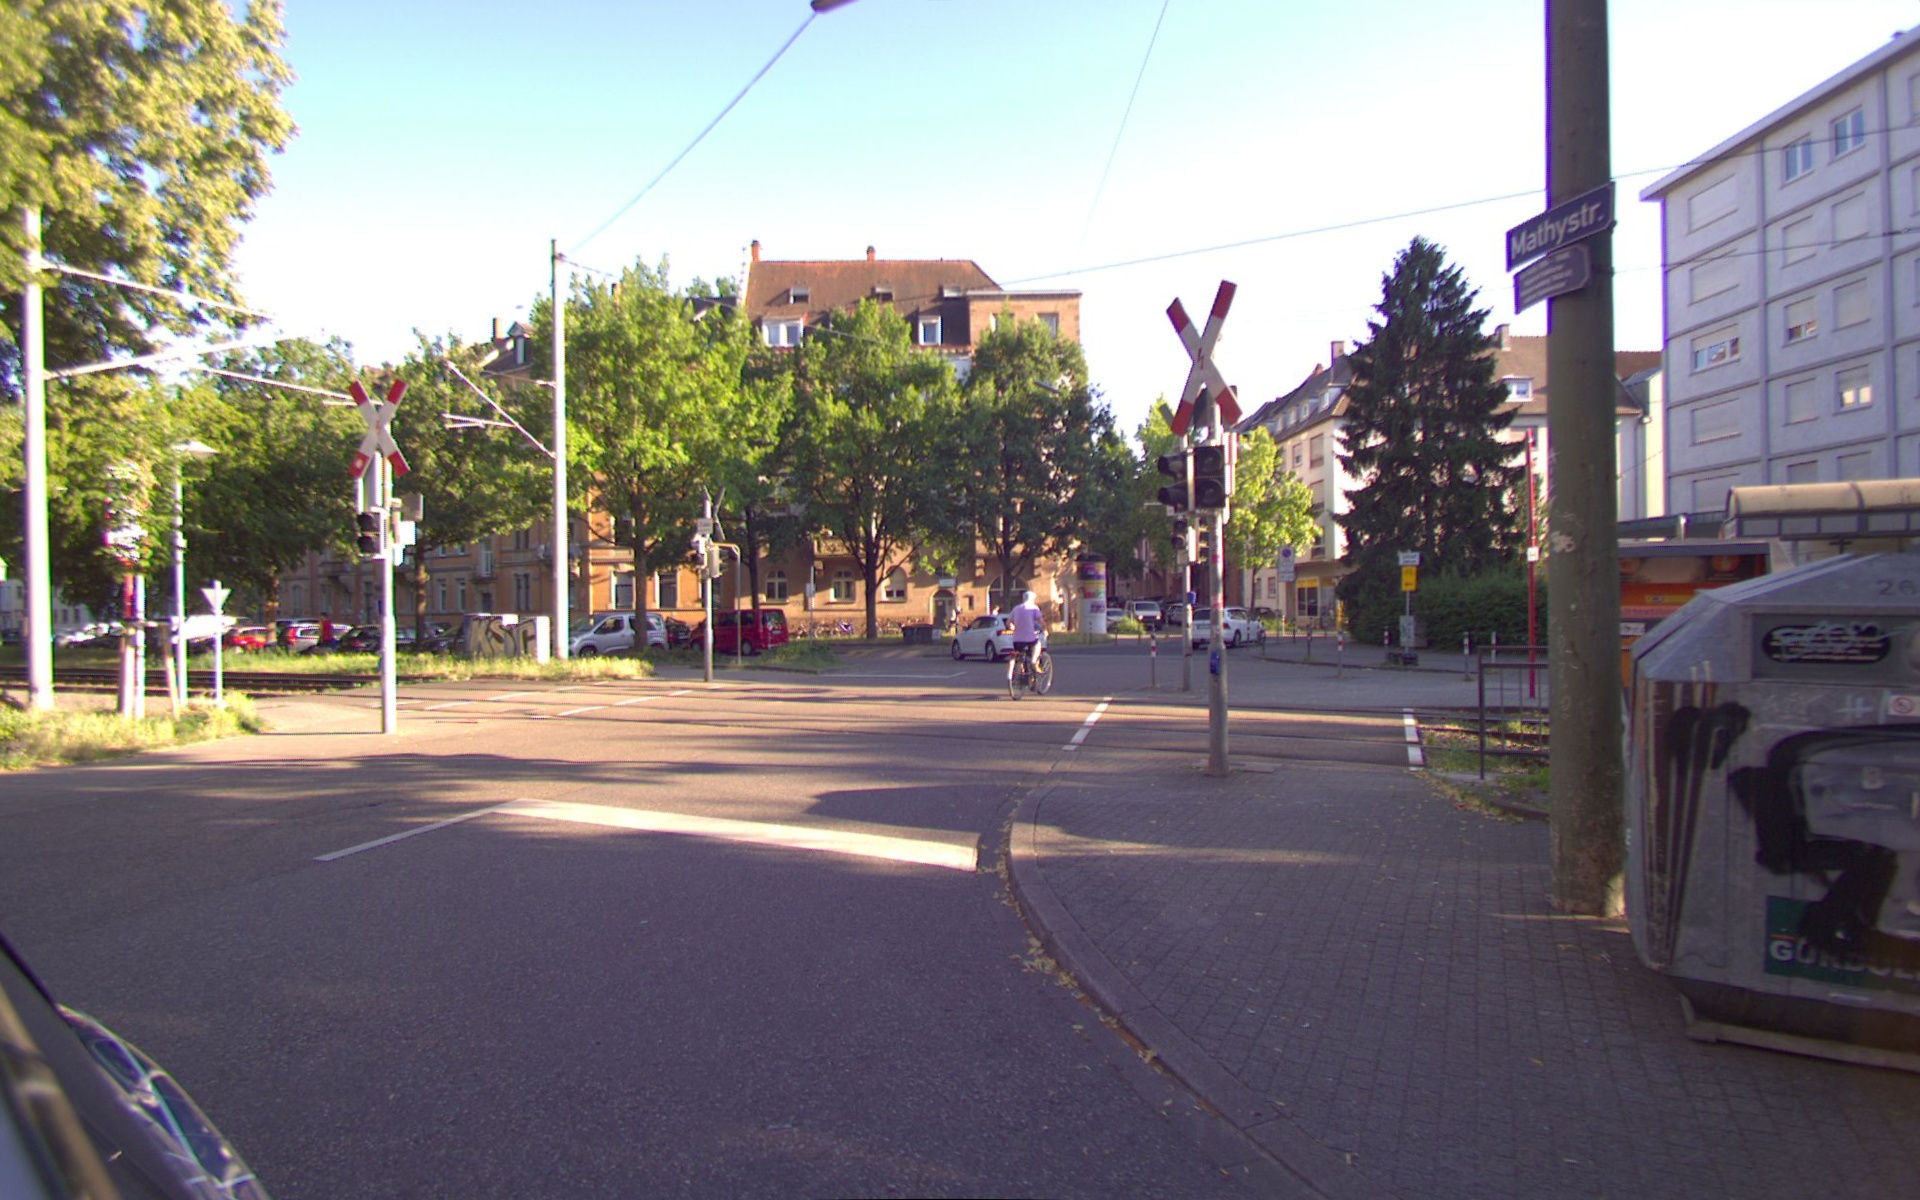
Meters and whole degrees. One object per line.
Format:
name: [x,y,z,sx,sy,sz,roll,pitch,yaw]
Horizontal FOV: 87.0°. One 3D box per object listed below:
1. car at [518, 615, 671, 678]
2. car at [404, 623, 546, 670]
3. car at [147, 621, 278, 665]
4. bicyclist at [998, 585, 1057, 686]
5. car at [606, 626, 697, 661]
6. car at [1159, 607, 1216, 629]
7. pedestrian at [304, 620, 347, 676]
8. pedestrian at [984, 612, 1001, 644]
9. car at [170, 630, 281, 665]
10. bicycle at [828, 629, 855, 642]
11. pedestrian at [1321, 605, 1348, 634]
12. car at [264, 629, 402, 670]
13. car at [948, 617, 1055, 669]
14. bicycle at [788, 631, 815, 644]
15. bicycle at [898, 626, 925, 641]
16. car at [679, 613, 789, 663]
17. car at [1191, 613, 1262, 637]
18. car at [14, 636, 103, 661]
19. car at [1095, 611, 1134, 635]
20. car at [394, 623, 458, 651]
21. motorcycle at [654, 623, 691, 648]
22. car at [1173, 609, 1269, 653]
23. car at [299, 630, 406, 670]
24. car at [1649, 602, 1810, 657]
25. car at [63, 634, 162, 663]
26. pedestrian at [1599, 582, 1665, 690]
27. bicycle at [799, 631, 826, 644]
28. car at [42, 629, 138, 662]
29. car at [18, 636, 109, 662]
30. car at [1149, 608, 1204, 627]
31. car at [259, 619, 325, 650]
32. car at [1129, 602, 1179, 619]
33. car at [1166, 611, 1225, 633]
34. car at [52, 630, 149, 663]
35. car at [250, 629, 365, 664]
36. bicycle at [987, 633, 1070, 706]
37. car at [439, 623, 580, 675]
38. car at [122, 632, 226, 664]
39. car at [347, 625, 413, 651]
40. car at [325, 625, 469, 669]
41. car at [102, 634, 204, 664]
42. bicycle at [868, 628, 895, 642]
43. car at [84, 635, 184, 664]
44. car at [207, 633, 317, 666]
car: [-12.019,1.462,33.550,1.946,1.929,4.498,-1,-1,35]
car: [-18.193,1.686,38.139,1.946,1.584,4.498,-1,-1,35]
car: [-37.185,2.099,50.459,2.149,2.054,4.804,-2,-2,34]
bicyclist: [1.115,0.576,16.586,0.696,1.600,0.867,-2,-1,24]
car: [-14.238,2.010,46.618,4.262,1.444,1.760,-2,1,36]
car: [17.262,1.362,76.761,3.931,1.648,1.879,0,-1,-30]
pedestrian: [-22.340,1.668,35.609,1.147,1.933,0.895,-2,-1,34]
pedestrian: [1.743,1.521,54.623,0.900,1.731,0.675,-1,-1,2]
car: [-35.148,2.248,48.548,1.760,1.592,3.957,-2,-2,31]
bicycle: [-6.721,2.014,57.410,1.488,0.738,0.369,-1,-1,-2]
pedestrian: [22.117,1.159,59.785,1.198,1.679,0.964,-1,-1,0]
car: [-26.810,2.076,43.397,1.996,1.584,4.659,-1,-1,35]
car: [1.210,1.295,31.427,1.678,1.468,4.075,0,-1,-24]
bicycle: [-8.984,2.132,57.352,1.488,0.738,0.369,-1,-1,-2]
bicycle: [-2.738,1.901,57.612,1.488,0.738,0.369,-3,-1,-2]
car: [-9.720,1.632,43.367,4.759,1.948,1.762,-2,1,34]
car: [16.929,1.563,64.299,3.931,1.410,1.879,-1,-1,-17]
car: [-57.683,3.063,64.801,1.679,1.500,3.954,-2,-2,34]
car: [9.755,1.462,64.162,1.847,1.410,3.999,-1,-1,0]
car: [-30.455,2.106,57.657,3.699,1.486,1.670,-2,1,34]
motorcycle: [-16.252,2.010,57.255,1.871,1.363,0.810,-2,-1,-2]
car: [9.496,1.103,36.570,1.919,1.461,4.243,-3,-2,36]
car: [-24.793,2.018,41.395,1.715,1.526,3.368,-2,-2,35]
car: [23.578,0.889,31.221,1.973,1.544,3.996,-1,-1,3]
car: [-47.520,2.703,56.829,1.679,1.500,3.954,-2,-2,34]
pedestrian: [11.296,0.583,17.034,0.868,1.749,0.822,-2,0,33]
bicycle: [-8.300,2.113,56.983,1.488,0.738,0.369,-1,-1,-2]
car: [-51.203,2.663,59.622,1.679,1.846,3.954,-2,-2,34]
car: [-55.606,2.994,62.810,1.679,1.500,3.954,-2,-2,34]
car: [17.000,1.349,79.379,3.931,1.410,1.879,0,-1,-30]
car: [-43.782,2.277,66.330,4.712,1.897,1.892,-2,1,34]
car: [16.906,0.894,88.090,3.931,1.410,1.879,0,-1,-30]
car: [17.144,1.616,73.558,3.931,1.517,1.879,0,-1,-30]
car: [-49.297,2.642,58.116,1.679,1.846,3.954,-2,-2,34]
car: [-28.830,2.032,44.829,1.679,1.472,3.954,-2,-2,34]
bicycle: [1.162,1.106,16.644,0.696,1.062,2.107,-1,-1,23]
car: [-16.130,1.705,36.441,1.941,1.704,4.408,-1,-1,28]
car: [-40.852,2.449,52.652,1.679,1.565,3.954,-2,-2,34]
car: [-34.772,2.292,60.620,4.279,1.394,1.748,-2,1,35]
car: [-22.387,1.826,40.400,1.996,1.584,4.659,-1,-1,35]
car: [-42.962,2.589,53.962,1.679,1.500,3.954,-2,-2,34]
bicycle: [-4.483,1.978,57.683,1.488,0.738,0.369,-1,-1,-2]
car: [-45.152,2.671,55.388,1.679,1.500,3.954,-2,-2,34]
car: [-32.902,2.311,47.797,1.679,1.434,3.954,-2,-2,34]
